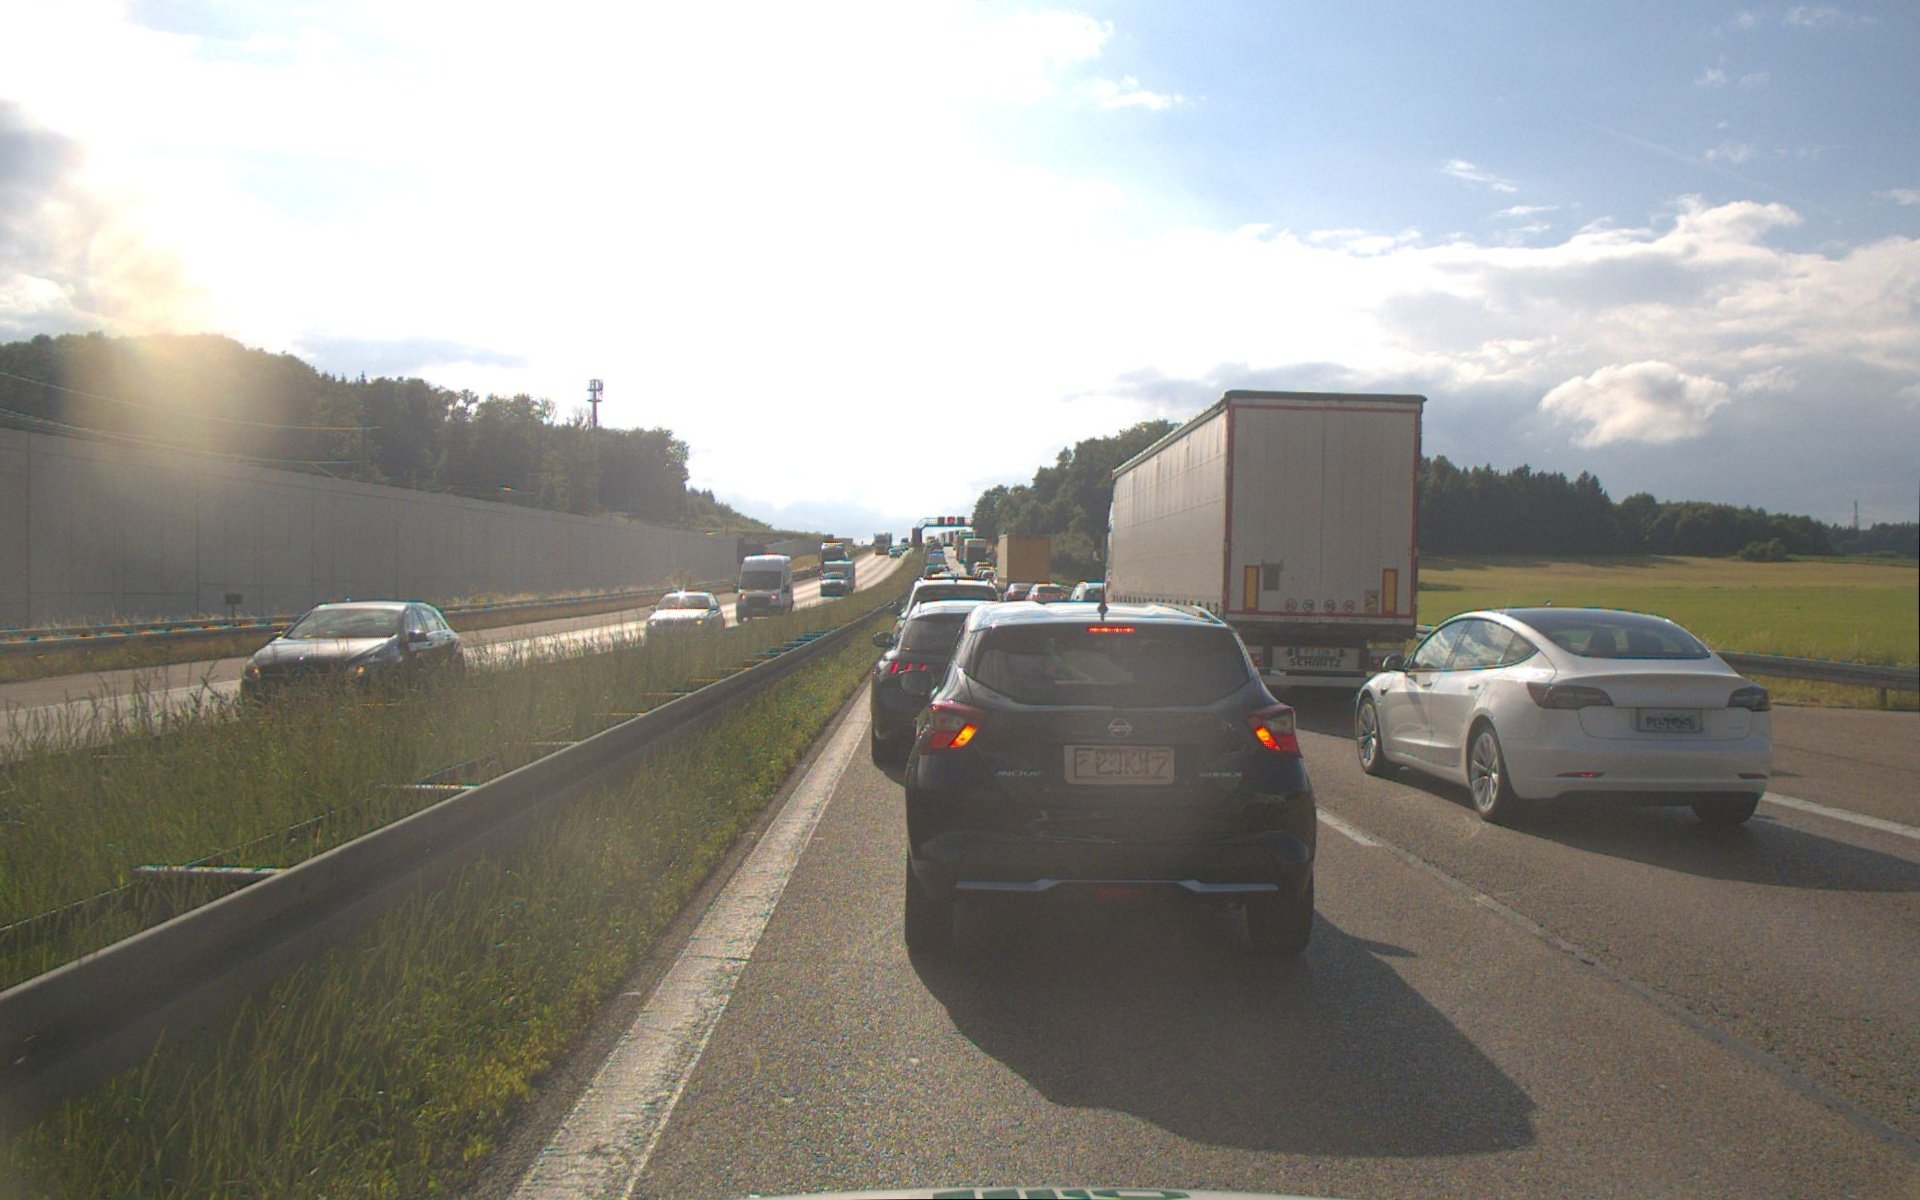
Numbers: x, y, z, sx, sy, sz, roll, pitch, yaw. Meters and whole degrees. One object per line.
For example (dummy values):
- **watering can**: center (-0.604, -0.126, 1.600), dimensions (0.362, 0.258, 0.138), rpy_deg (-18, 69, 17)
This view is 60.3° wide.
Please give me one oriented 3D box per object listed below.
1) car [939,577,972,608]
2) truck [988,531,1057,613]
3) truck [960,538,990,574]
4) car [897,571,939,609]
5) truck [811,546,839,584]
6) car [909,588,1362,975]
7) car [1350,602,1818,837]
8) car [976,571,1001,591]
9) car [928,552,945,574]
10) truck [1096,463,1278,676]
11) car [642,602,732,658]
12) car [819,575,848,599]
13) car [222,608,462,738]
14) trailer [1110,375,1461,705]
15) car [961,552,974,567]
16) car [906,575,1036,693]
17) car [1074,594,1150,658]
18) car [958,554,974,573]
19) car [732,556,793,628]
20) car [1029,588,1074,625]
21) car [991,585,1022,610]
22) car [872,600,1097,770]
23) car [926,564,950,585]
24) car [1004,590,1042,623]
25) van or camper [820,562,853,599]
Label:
- **car**: center (-0.258, -0.436, 93.976), dimensions (1.835, 1.673, 4.232), rpy_deg (0, 2, -1)
- **truck**: center (3.674, -1.554, 101.066), dimensions (3.230, 4.657, 12.435), rpy_deg (1, 0, -2)
- **truck**: center (1.991, -6.022, 225.993), dimensions (3.395, 4.656, 12.437), rpy_deg (1, 1, -2)
- **car**: center (-1.898, -0.502, 75.686), dimensions (1.835, 1.673, 4.232), rpy_deg (0, 1, -1)
- **truck**: center (-14.421, -3.707, 176.501), dimensions (2.530, 3.991, 5.721), rpy_deg (-1, 0, -1)
- **car**: center (0.651, 0.691, 8.443), dimensions (1.737, 1.476, 4.231), rpy_deg (0, 0, -1)
- **car**: center (4.408, 0.750, 12.501), dimensions (1.752, 1.418, 4.435), rpy_deg (0, 0, -2)
- **car**: center (2.438, -1.661, 143.460), dimensions (1.836, 1.673, 4.229), rpy_deg (0, 2, -4)
- **car**: center (-2.529, -3.959, 177.802), dimensions (1.835, 2.196, 5.211), rpy_deg (0, 3, -1)
- **truck**: center (4.631, -0.564, 34.769), dimensions (3.069, 4.086, 5.163), rpy_deg (1, -1, 0)
- **car**: center (-7.527, 0.793, 45.920), dimensions (1.835, 1.476, 4.231), rpy_deg (0, 0, -1)
- **car**: center (-9.283, -0.951, 121.343), dimensions (1.871, 1.701, 4.360), rpy_deg (0, 0, -1)
- **car**: center (-7.715, 0.851, 21.032), dimensions (1.618, 1.476, 3.955), rpy_deg (0, 0, -1)
- **trailer**: center (4.683, -0.653, 27.343), dimensions (3.067, 4.081, 13.364), rpy_deg (1, -1, 0)
- **car**: center (1.108, -6.277, 255.583), dimensions (1.835, 2.196, 5.211), rpy_deg (0, 3, -1)
- **car**: center (0.132, 0.477, 25.476), dimensions (1.835, 1.673, 4.231), rpy_deg (0, 0, -1)
- **car**: center (4.067, 0.669, 44.825), dimensions (1.663, 1.639, 4.437), rpy_deg (0, 0, 0)
- **car**: center (0.718, -4.410, 200.338), dimensions (1.835, 2.196, 5.211), rpy_deg (0, 3, -1)
- **car**: center (-8.331, -0.329, 70.166), dimensions (2.061, 2.920, 5.635), rpy_deg (0, 0, -1)
- **car**: center (4.286, 0.290, 78.001), dimensions (1.835, 1.673, 4.232), rpy_deg (0, 1, -1)
- **car**: center (3.119, -0.203, 111.997), dimensions (1.836, 1.673, 4.230), rpy_deg (0, 1, -3)
- **car**: center (0.177, 0.693, 15.581), dimensions (1.835, 1.381, 4.231), rpy_deg (0, 0, -1)
- **car**: center (-1.813, -2.068, 134.223), dimensions (1.835, 1.673, 4.231), rpy_deg (0, 2, -2)
- **car**: center (3.310, 0.334, 87.600), dimensions (1.835, 1.673, 4.232), rpy_deg (0, 1, -1)
- **van or camper**: center (-9.438, -1.468, 127.112), dimensions (2.207, 2.751, 7.168), rpy_deg (0, 0, -1)
